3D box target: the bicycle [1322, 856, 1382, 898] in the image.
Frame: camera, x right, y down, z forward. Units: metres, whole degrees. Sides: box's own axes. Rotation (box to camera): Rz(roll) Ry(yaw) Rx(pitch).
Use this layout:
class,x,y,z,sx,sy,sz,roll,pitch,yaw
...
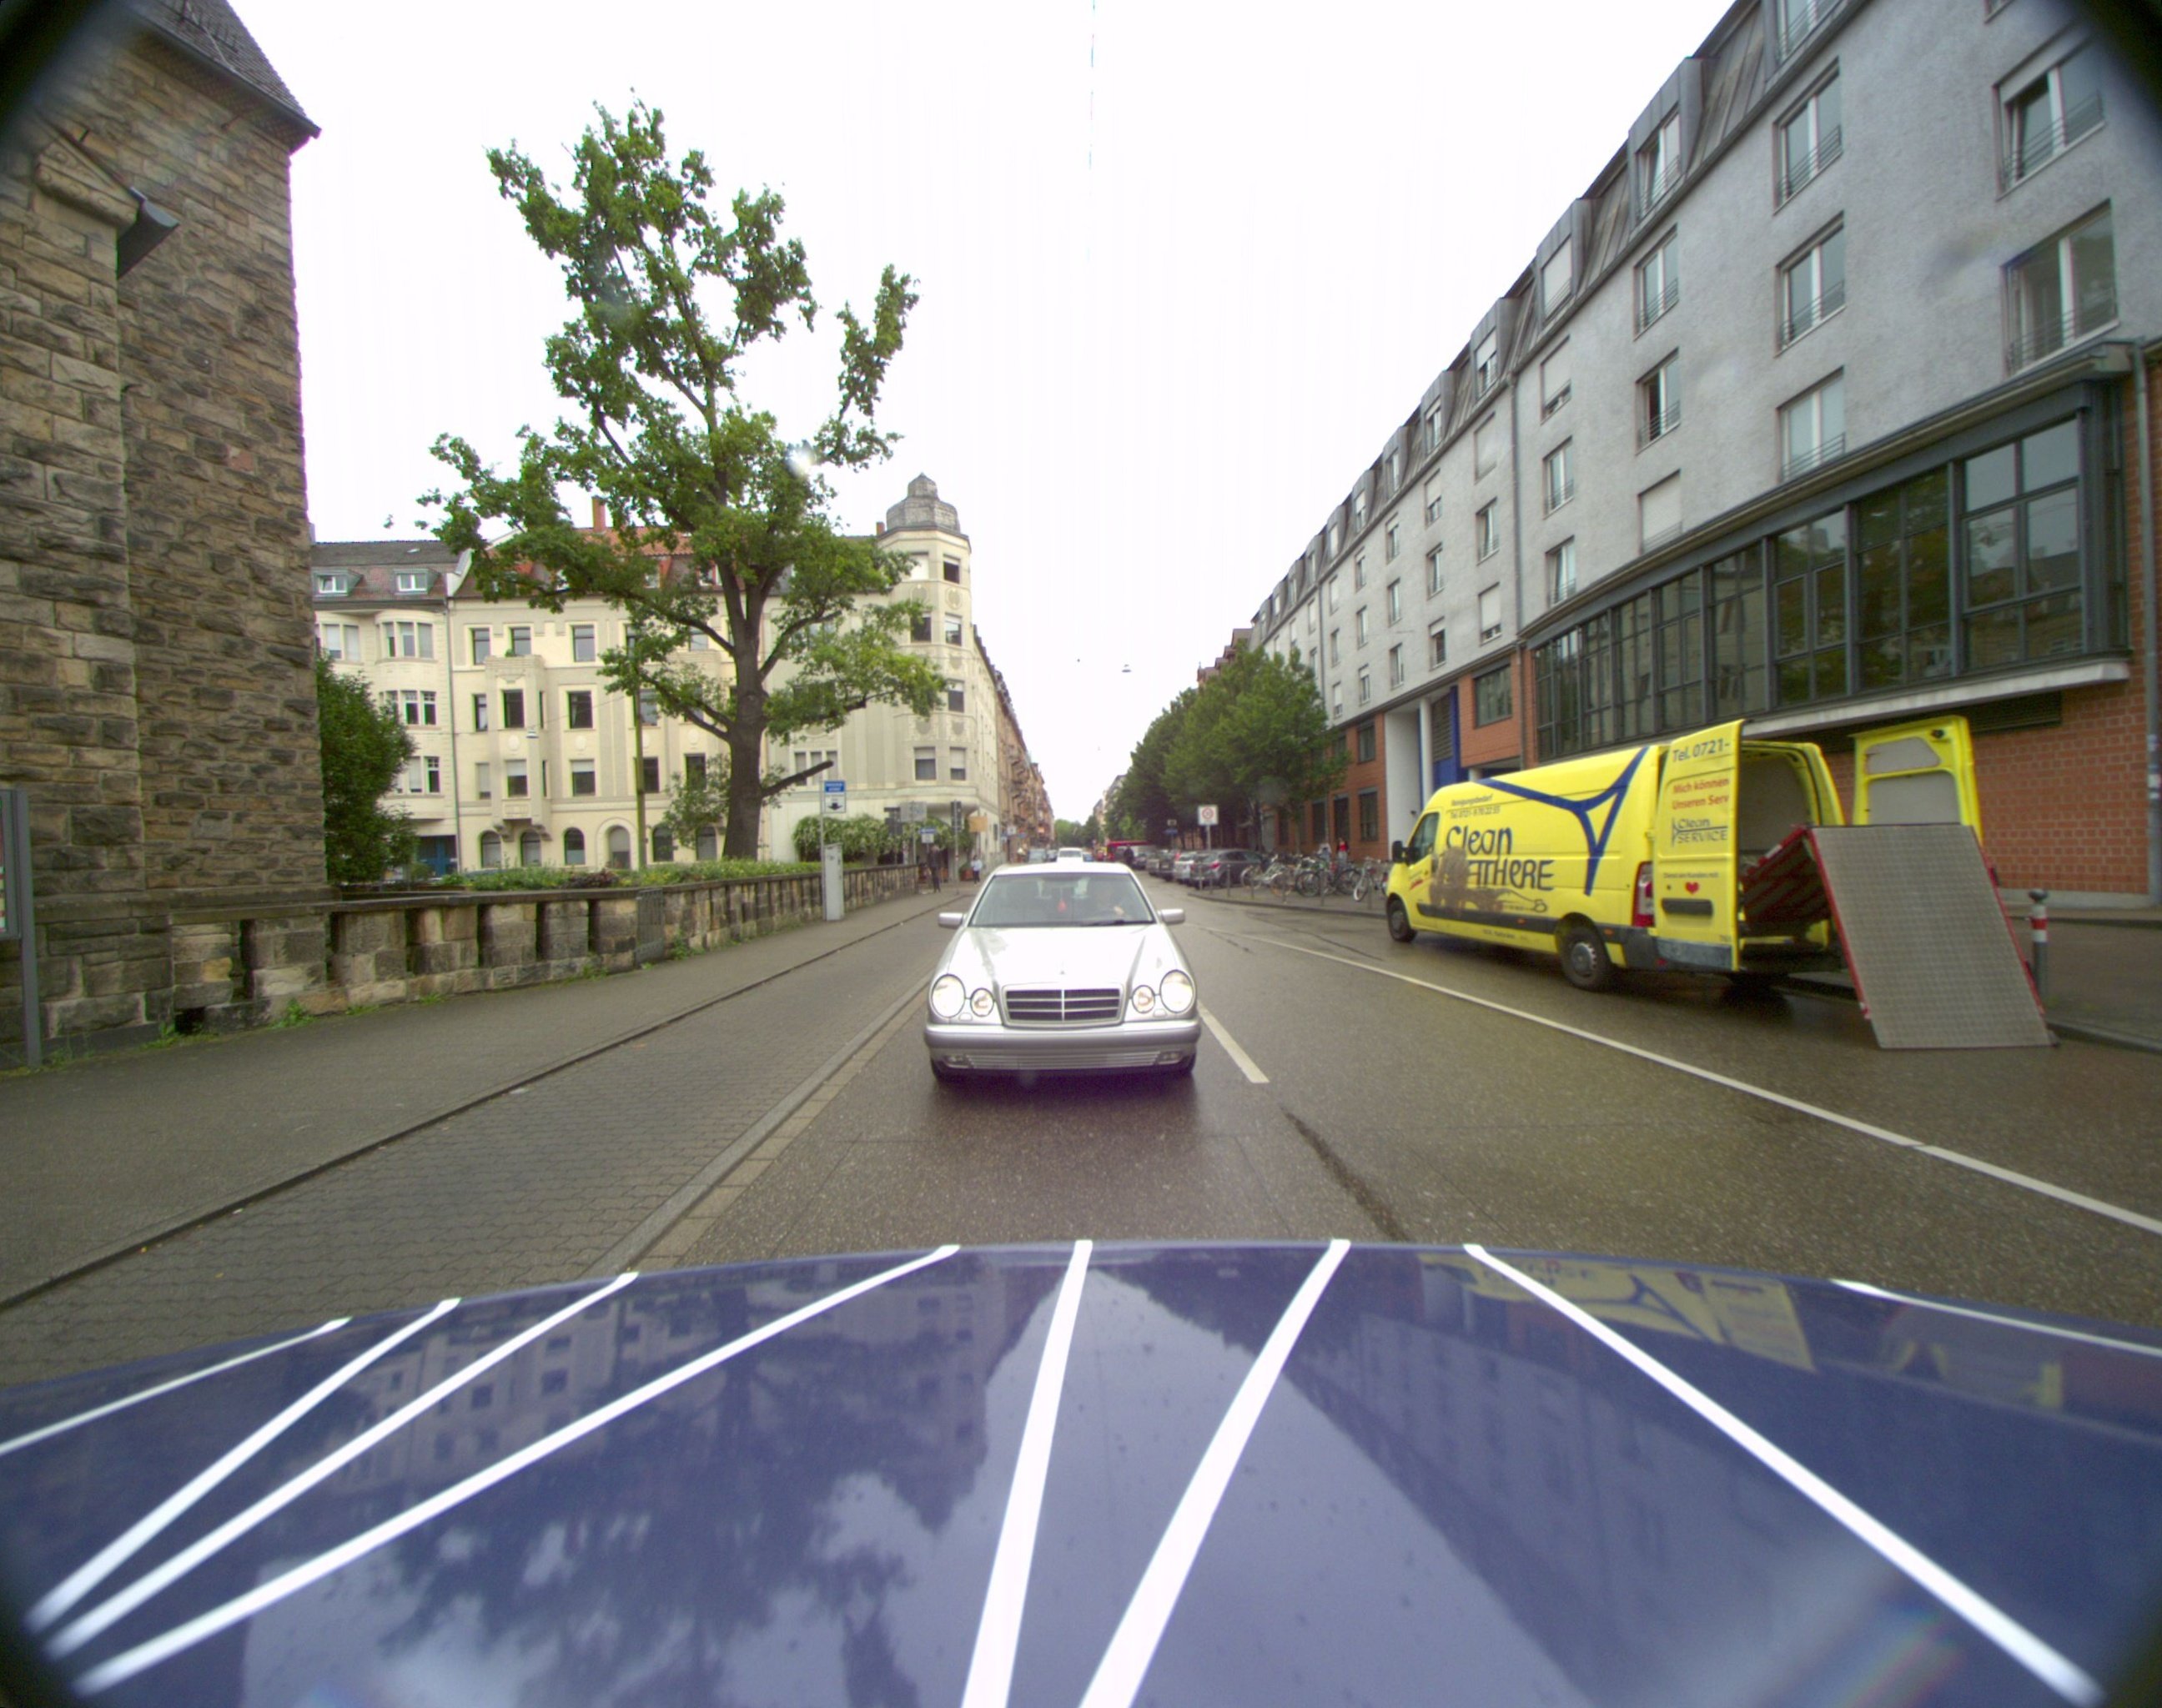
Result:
class,x,y,z,sx,sy,sz,roll,pitch,yaw
bicycle,7.487,0.627,21.033,1.462,1.058,0.418,-3,1,4

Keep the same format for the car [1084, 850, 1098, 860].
class,x,y,z,sx,sy,sz,roll,pitch,yaw
car,1.243,0.138,98.506,1.651,1.301,3.311,-1,0,-3

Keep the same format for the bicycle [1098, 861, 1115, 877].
class,x,y,z,sx,sy,sz,roll,pitch,yaw
bicycle,1.514,0.893,44.724,0.536,0.879,1.782,-1,1,16

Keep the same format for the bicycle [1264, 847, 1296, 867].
class,x,y,z,sx,sy,sz,roll,pitch,yaw
bicycle,10.667,0.162,40.758,1.590,0.979,0.445,-2,1,-8

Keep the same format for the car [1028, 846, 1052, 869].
class,x,y,z,sx,sy,sz,roll,pitch,yaw
car,-3.326,0.258,61.618,1.726,1.794,3.462,-1,0,0

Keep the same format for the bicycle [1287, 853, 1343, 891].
class,x,y,z,sx,sy,sz,roll,pitch,yaw
bicycle,7.370,0.553,23.912,1.611,1.099,0.519,-3,1,-13

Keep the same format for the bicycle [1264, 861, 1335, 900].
class,x,y,z,sx,sy,sz,roll,pitch,yaw
bicycle,6.128,0.746,21.366,1.800,0.987,0.520,-3,1,-2

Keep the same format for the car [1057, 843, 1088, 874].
class,x,y,z,sx,sy,sz,roll,pitch,yaw
car,-0.548,0.274,52.159,1.998,2.002,4.000,-1,1,1

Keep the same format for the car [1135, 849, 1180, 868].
class,x,y,z,sx,sy,sz,roll,pitch,yaw
car,6.113,0.350,60.526,1.685,1.482,3.799,0,1,40

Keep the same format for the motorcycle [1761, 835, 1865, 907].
class,x,y,z,sx,sy,sz,roll,pitch,yaw
motorcycle,13.067,0.266,13.631,0.524,1.174,2.006,-3,1,19

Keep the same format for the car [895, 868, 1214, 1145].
class,x,y,z,sx,sy,sz,roll,pitch,yaw
car,-0.150,0.900,6.300,1.764,1.420,3.999,-2,1,0

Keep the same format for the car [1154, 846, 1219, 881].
class,x,y,z,sx,sy,sz,roll,pitch,yaw
car,5.231,0.446,37.592,3.084,1.543,1.449,-3,1,-40

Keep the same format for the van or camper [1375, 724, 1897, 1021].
class,x,y,z,sx,sy,sz,roll,pitch,yaw
van or camper,6.077,0.144,9.693,2.202,2.596,5.940,-1,0,-2

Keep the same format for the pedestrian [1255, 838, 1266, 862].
class,x,y,z,sx,sy,sz,roll,pitch,yaw
pedestrian,12.062,-0.265,50.950,0.571,1.588,0.533,-2,1,1

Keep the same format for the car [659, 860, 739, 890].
class,x,y,z,sx,sy,sz,roll,pitch,yaw
car,-19.058,1.036,37.958,3.270,1.401,1.448,-1,1,3

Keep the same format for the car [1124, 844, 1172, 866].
class,x,y,z,sx,sy,sz,roll,pitch,yaw
car,5.959,0.049,67.272,4.338,1.884,1.685,-1,1,-41

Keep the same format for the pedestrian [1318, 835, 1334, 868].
class,x,y,z,sx,sy,sz,roll,pitch,yaw
pedestrian,12.033,-0.102,37.319,0.605,1.601,0.372,-2,1,-1

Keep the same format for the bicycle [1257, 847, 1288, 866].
class,x,y,z,sx,sy,sz,roll,pitch,yaw
bicycle,10.550,0.143,41.923,1.590,0.979,0.465,-2,1,-8

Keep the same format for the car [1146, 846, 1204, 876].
class,x,y,z,sx,sy,sz,roll,pitch,yaw
car,5.350,0.410,43.332,2.985,1.546,1.369,-3,1,-29

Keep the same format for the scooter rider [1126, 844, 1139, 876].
class,x,y,z,sx,sy,sz,roll,pitch,yaw
scooter rider,3.122,0.355,45.928,0.712,1.924,0.503,-1,1,-2

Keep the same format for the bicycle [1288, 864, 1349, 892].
class,x,y,z,sx,sy,sz,roll,pitch,yaw
bicycle,7.266,0.723,23.255,1.773,0.757,0.456,-3,1,-13

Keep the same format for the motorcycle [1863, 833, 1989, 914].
class,x,y,z,sx,sy,sz,roll,pitch,yaw
motorcycle,13.220,0.266,11.950,0.524,1.174,1.760,-3,1,19

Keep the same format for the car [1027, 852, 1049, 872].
class,x,y,z,sx,sy,sz,roll,pitch,yaw
car,-3.153,0.581,56.550,1.447,1.348,3.204,-1,0,0

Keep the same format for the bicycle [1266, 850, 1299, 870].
class,x,y,z,sx,sy,sz,roll,pitch,yaw
bicycle,10.416,0.308,39.346,1.590,0.979,0.445,-2,1,-8

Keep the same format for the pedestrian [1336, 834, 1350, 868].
class,x,y,z,sx,sy,sz,roll,pitch,yaw
pedestrian,12.668,-0.147,36.773,0.514,1.601,0.425,-2,1,1

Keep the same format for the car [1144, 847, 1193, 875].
class,x,y,z,sx,sy,sz,roll,pitch,yaw
car,5.323,0.428,46.090,2.685,1.546,1.148,-3,1,-29

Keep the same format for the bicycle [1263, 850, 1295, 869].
class,x,y,z,sx,sy,sz,roll,pitch,yaw
bicycle,10.458,0.291,40.138,1.590,0.979,0.445,-2,1,-8

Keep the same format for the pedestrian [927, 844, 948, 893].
class,x,y,z,sx,sy,sz,roll,pitch,yaw
pedestrian,-5.560,0.563,29.504,0.646,1.862,0.693,-1,1,0

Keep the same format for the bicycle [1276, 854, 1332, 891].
class,x,y,z,sx,sy,sz,roll,pitch,yaw
bicycle,7.187,0.584,24.556,1.610,1.099,0.520,-3,1,-5

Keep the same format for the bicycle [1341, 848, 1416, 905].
class,x,y,z,sx,sy,sz,roll,pitch,yaw
bicycle,7.508,0.539,19.125,1.922,1.209,0.768,-6,4,-35

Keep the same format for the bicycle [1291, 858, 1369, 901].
class,x,y,z,sx,sy,sz,roll,pitch,yaw
bicycle,6.706,0.683,20.528,1.858,1.067,0.609,-3,1,5

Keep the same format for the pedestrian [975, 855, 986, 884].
class,x,y,z,sx,sy,sz,roll,pitch,yaw
pedestrian,-5.104,0.782,38.605,0.482,1.452,0.392,-1,1,-1

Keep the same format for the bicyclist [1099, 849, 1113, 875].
class,x,y,z,sx,sy,sz,roll,pitch,yaw
bicyclist,1.485,0.455,44.661,0.536,1.521,1.136,-1,1,15

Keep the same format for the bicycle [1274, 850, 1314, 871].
class,x,y,z,sx,sy,sz,roll,pitch,yaw
bicycle,10.595,0.335,37.750,1.851,0.979,0.445,-2,1,-8

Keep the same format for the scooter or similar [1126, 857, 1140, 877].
class,x,y,z,sx,sy,sz,roll,pitch,yaw
scooter or similar,3.125,0.750,45.934,0.702,1.158,1.385,-1,1,-2

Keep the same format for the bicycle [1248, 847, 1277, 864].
class,x,y,z,sx,sy,sz,roll,pitch,yaw
bicycle,10.780,0.080,45.092,1.590,0.979,0.465,-2,1,-8

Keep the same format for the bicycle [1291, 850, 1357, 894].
class,x,y,z,sx,sy,sz,roll,pitch,yaw
bicycle,7.251,0.533,22.664,1.815,1.187,0.519,-3,1,-13

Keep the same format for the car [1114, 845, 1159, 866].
class,x,y,z,sx,sy,sz,roll,pitch,yaw
car,5.169,0.146,70.784,4.338,1.822,1.571,-1,1,-41

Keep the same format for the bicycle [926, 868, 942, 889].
class,x,y,z,sx,sy,sz,roll,pitch,yaw
bicycle,-7.321,1.207,37.783,0.390,0.888,2.023,-1,3,0

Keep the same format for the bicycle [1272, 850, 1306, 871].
class,x,y,z,sx,sy,sz,roll,pitch,yaw
bicycle,10.466,0.329,38.223,1.590,0.979,0.445,-2,1,-8

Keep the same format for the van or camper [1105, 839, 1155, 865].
class,x,y,z,sx,sy,sz,roll,pitch,yaw
van or camper,4.942,-0.207,76.704,4.604,2.597,1.999,-1,1,-27

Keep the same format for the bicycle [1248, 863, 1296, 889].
class,x,y,z,sx,sy,sz,roll,pitch,yaw
bicycle,6.553,0.759,26.120,1.473,0.800,0.497,-3,1,3

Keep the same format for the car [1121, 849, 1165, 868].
class,x,y,z,sx,sy,sz,roll,pitch,yaw
car,5.173,0.377,63.041,1.685,1.482,3.799,0,1,40

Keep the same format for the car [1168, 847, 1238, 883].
class,x,y,z,sx,sy,sz,roll,pitch,yaw
car,5.594,0.493,34.708,3.084,1.494,1.449,-3,1,-40

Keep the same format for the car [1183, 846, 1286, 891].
class,x,y,z,sx,sy,sz,roll,pitch,yaw
car,5.911,0.506,29.173,3.629,1.494,1.736,-3,2,-31

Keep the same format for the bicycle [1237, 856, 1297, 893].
class,x,y,z,sx,sy,sz,roll,pitch,yaw
bicycle,6.141,0.660,25.064,1.812,1.099,0.472,-3,1,-5

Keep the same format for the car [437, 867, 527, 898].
class,x,y,z,sx,sy,sz,roll,pitch,yaw
car,-29.463,1.401,37.433,3.270,1.401,1.448,-1,1,3

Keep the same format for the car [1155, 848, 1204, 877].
class,x,y,z,sx,sy,sz,roll,pitch,yaw
car,5.302,0.436,40.824,2.506,1.442,1.191,-3,1,-40

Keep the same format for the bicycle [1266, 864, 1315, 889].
class,x,y,z,sx,sy,sz,roll,pitch,yaw
bicycle,7.036,0.751,25.501,1.473,0.717,0.497,-3,1,3

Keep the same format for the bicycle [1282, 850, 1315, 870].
class,x,y,z,sx,sy,sz,roll,pitch,yaw
bicycle,11.090,0.308,38.768,1.590,0.979,0.445,-2,1,-8

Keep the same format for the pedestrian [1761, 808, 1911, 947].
class,x,y,z,sx,sy,sz,roll,pitch,yaw
pedestrian,10.069,0.295,10.190,0.787,1.718,1.172,-3,1,-2

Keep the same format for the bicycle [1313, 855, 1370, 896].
class,x,y,z,sx,sy,sz,roll,pitch,yaw
bicycle,7.470,0.605,21.808,1.461,1.096,0.462,-3,1,14

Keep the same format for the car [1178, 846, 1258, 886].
class,x,y,z,sx,sy,sz,roll,pitch,yaw
car,5.785,0.503,32.099,3.083,1.494,1.449,-3,1,-31
